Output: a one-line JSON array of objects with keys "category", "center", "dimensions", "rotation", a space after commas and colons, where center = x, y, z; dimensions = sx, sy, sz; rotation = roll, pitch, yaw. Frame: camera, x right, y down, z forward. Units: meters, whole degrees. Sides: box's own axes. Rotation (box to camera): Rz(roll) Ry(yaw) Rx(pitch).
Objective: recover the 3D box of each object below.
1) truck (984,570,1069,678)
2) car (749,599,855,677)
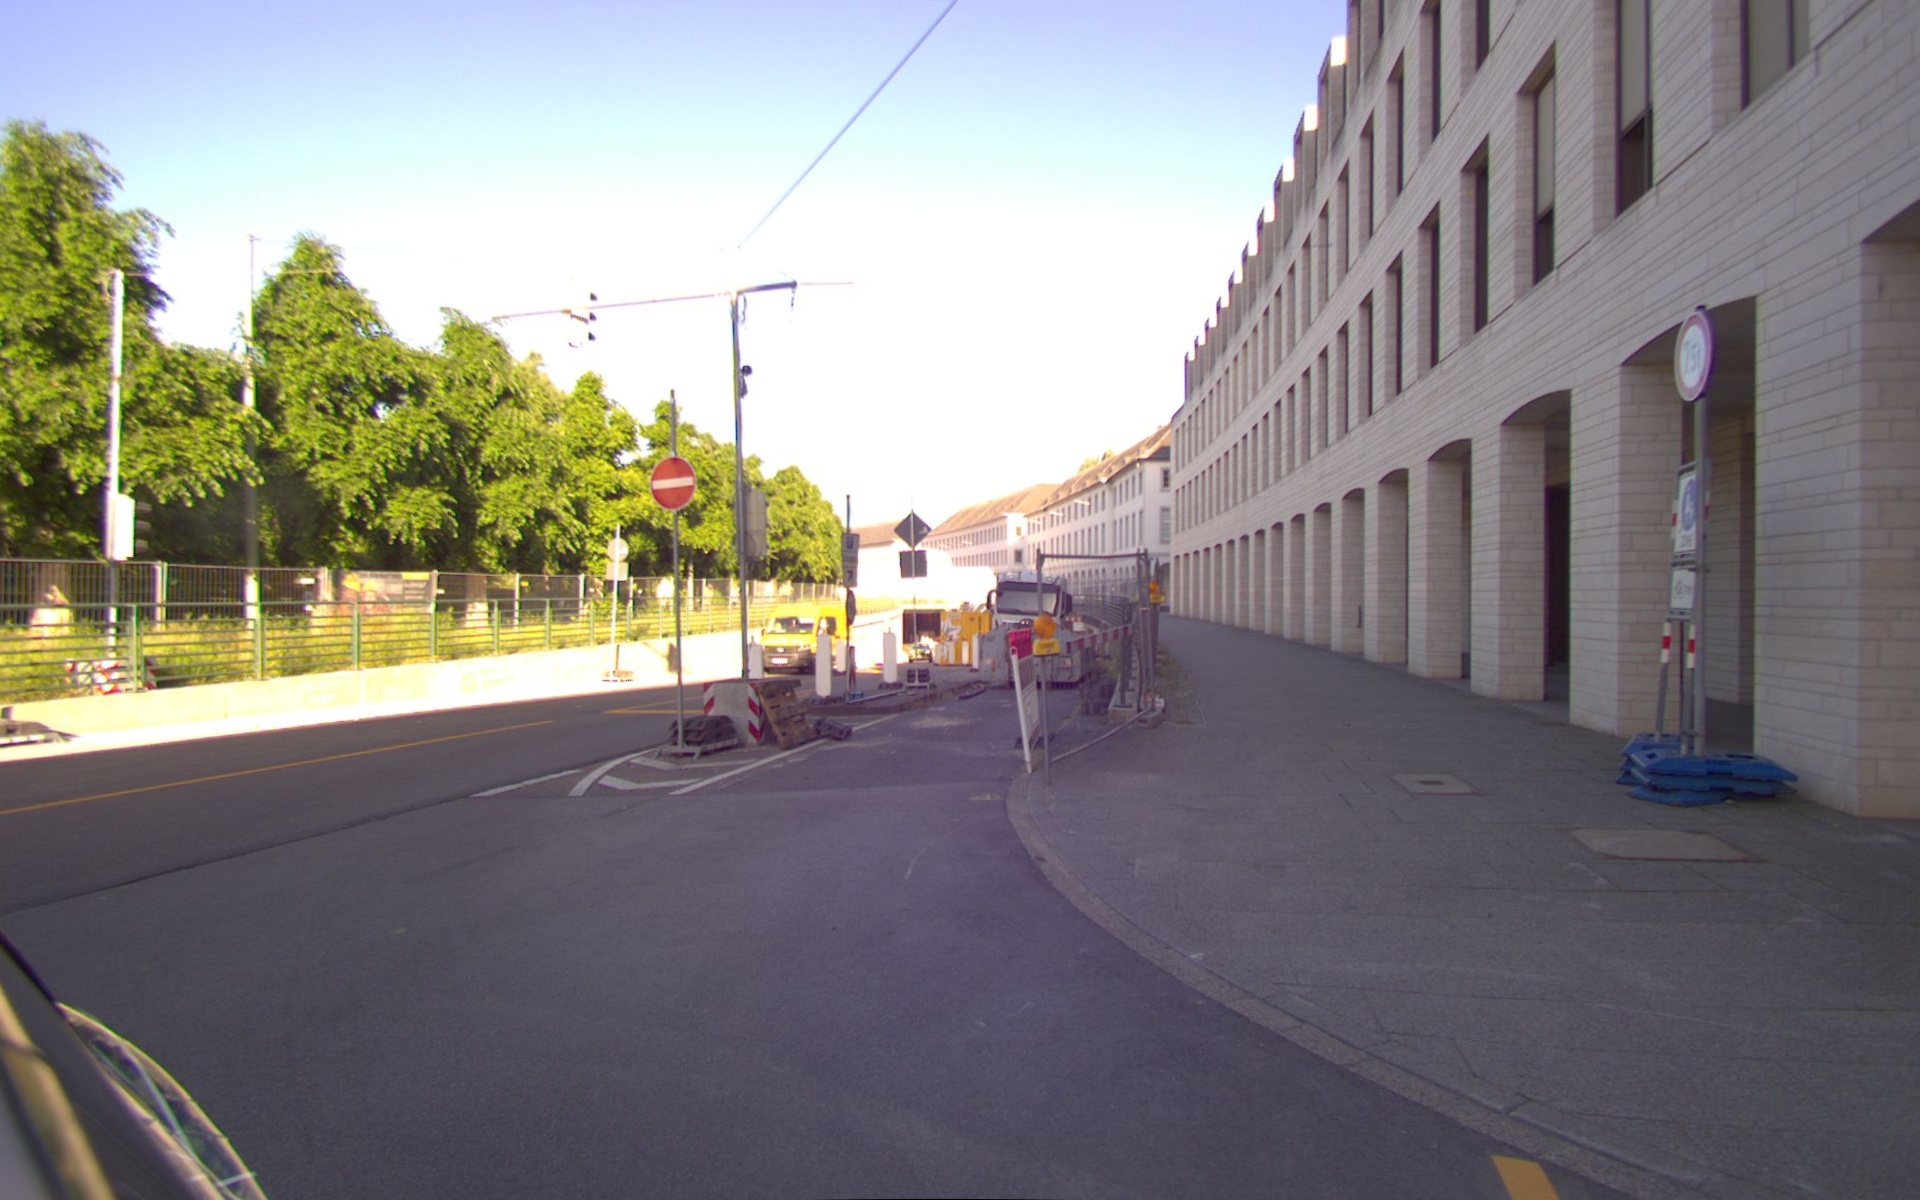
[{"category": "truck", "center": [2.552, 0.933, 37.122], "dimensions": [2.558, 3.516, 5.801], "rotation": [3, -2, 8]}, {"category": "car", "center": [-5.703, 1.434, 37.597], "dimensions": [2.093, 2.645, 6.971], "rotation": [-1, -3, 7]}]
